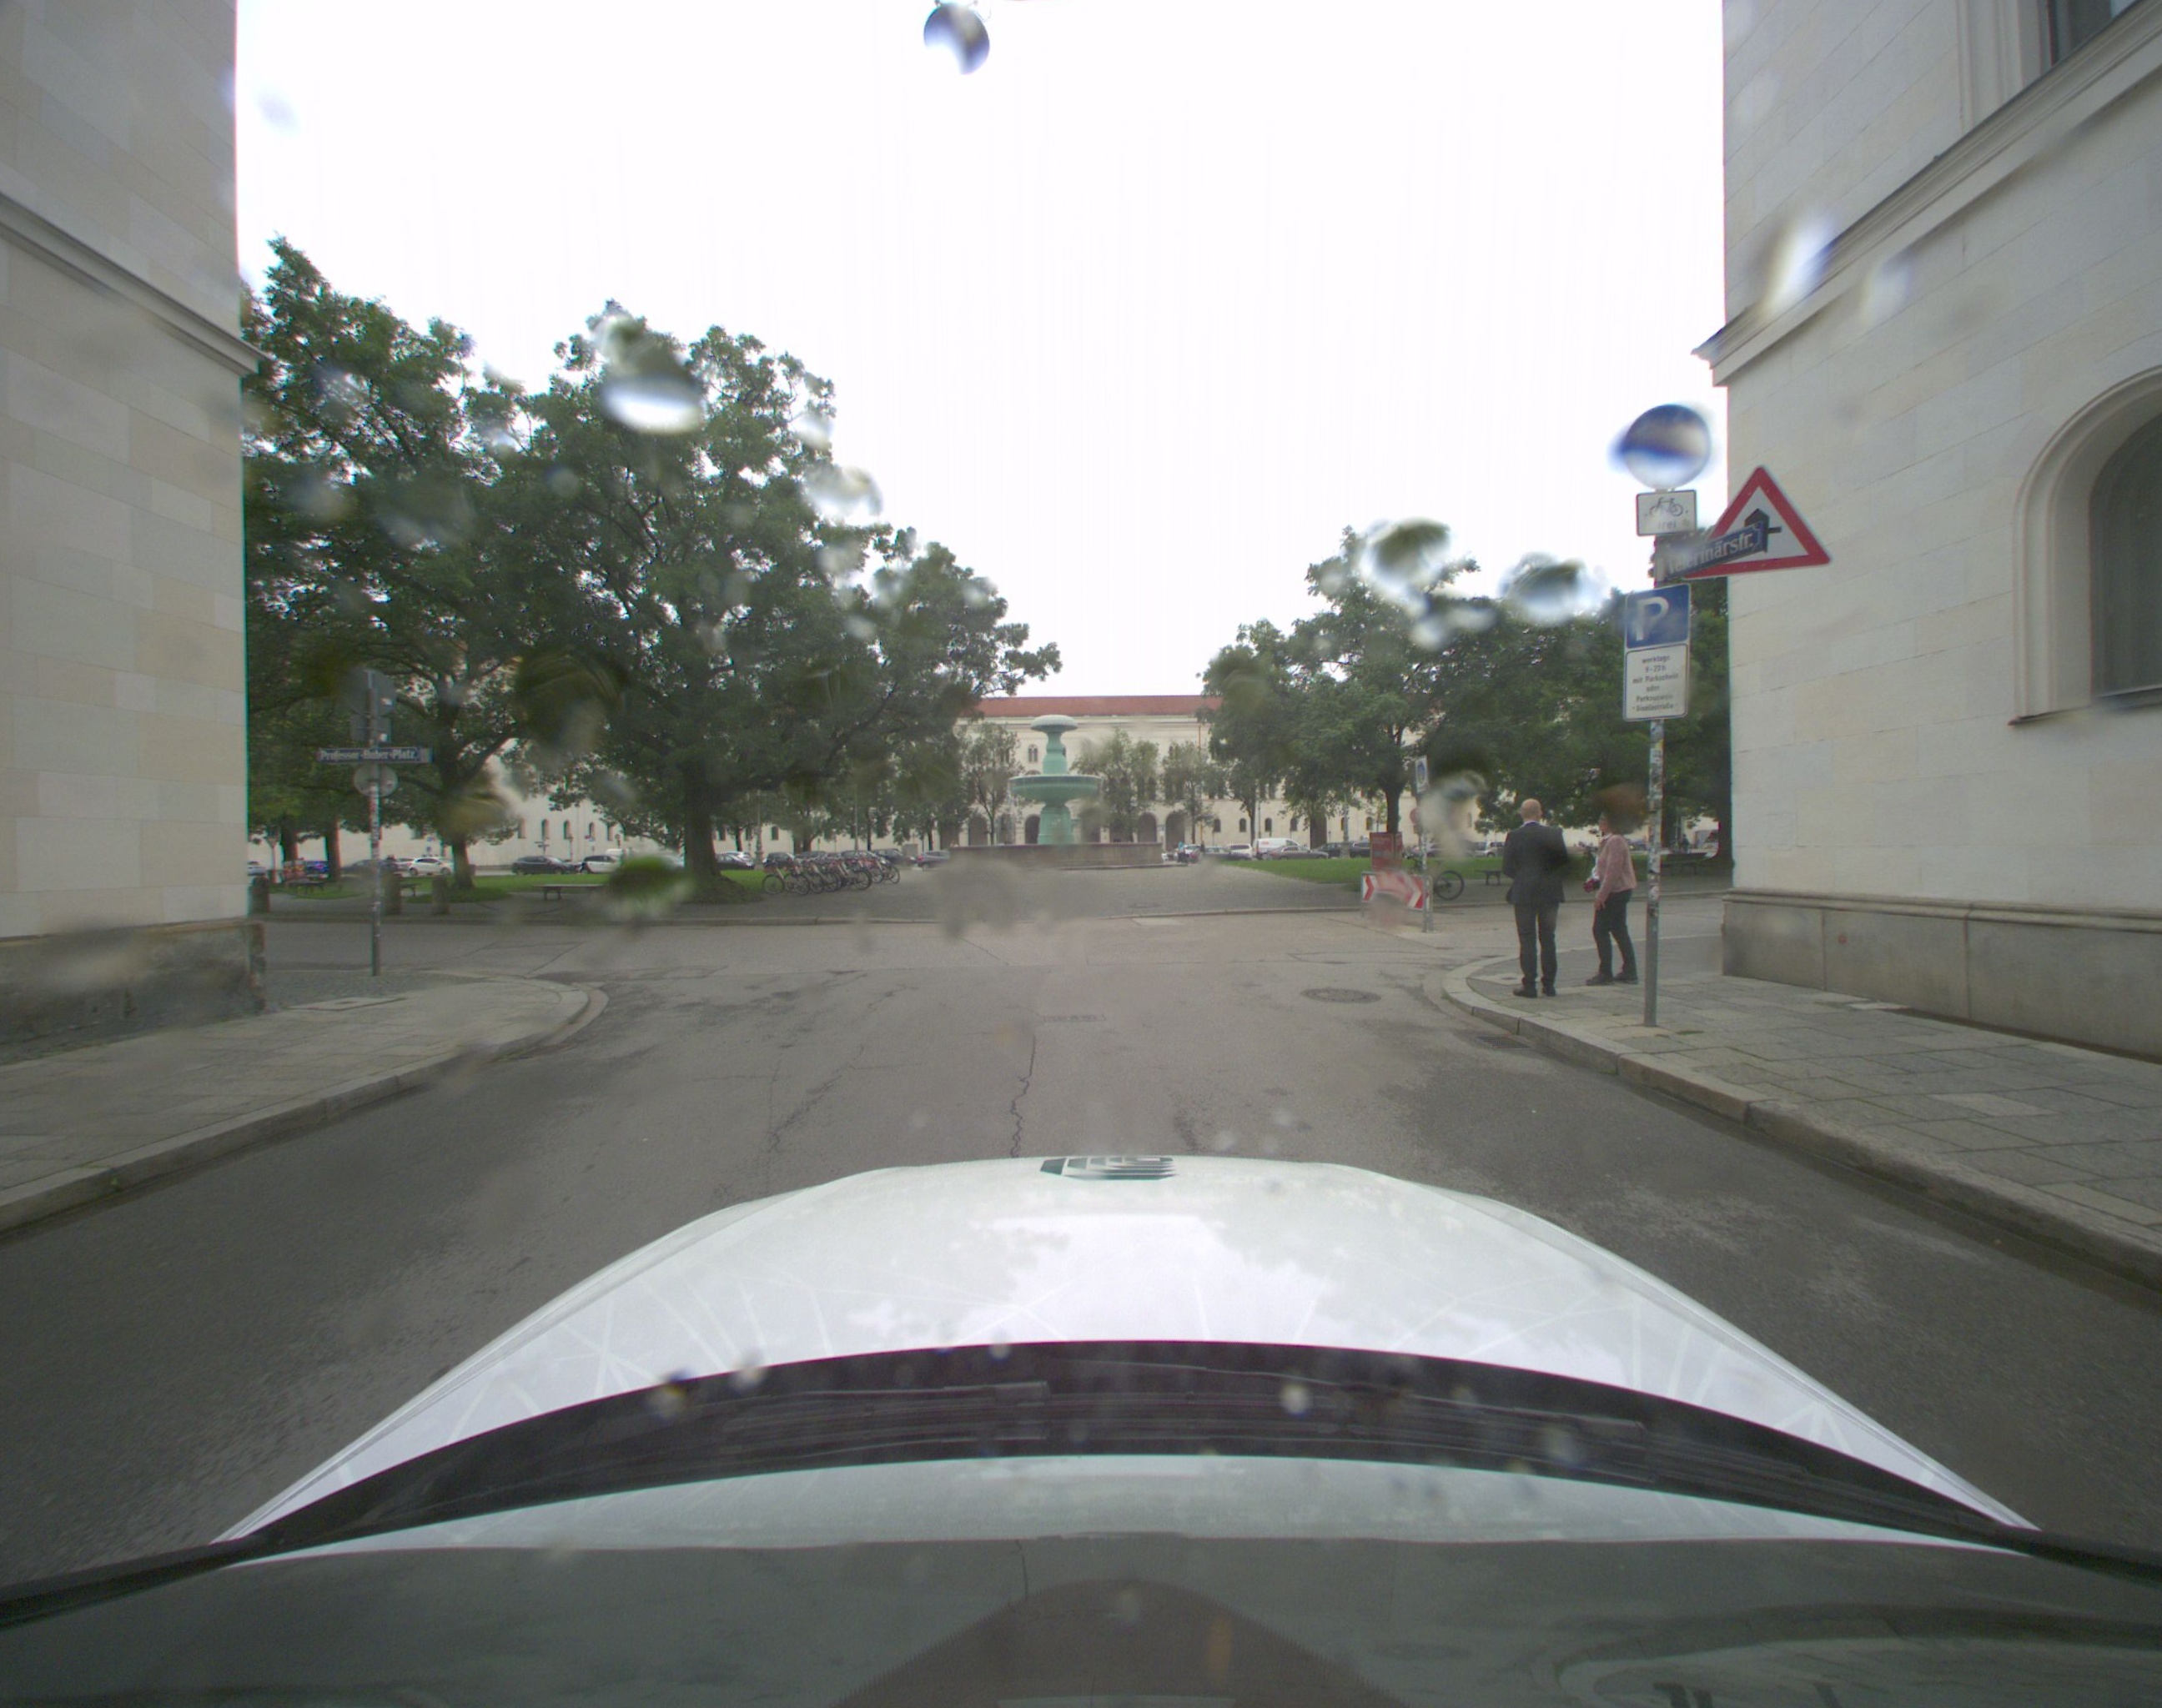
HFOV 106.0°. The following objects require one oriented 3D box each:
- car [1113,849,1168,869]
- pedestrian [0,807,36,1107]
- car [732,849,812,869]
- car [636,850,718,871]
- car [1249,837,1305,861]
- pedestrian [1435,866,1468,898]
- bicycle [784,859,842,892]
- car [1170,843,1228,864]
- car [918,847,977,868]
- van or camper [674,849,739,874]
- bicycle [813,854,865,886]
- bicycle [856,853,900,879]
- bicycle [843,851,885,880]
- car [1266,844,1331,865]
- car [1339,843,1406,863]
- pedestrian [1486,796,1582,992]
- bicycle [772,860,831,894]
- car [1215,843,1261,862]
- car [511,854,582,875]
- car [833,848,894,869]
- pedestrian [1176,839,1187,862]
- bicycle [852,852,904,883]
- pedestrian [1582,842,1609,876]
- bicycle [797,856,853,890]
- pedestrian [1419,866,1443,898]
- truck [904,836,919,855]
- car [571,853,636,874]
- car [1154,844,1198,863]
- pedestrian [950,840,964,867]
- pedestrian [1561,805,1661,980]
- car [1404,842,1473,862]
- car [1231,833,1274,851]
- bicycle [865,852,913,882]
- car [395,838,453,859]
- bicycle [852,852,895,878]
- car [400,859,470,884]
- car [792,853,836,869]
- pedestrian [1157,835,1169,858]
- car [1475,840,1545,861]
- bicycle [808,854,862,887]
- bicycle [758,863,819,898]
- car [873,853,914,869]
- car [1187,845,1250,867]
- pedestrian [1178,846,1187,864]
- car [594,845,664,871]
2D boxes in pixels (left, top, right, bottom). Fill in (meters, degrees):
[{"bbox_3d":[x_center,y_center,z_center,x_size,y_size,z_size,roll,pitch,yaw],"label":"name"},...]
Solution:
[{"bbox_3d":[4.380,0.351,60.421,3.973,1.402,1.825,-2,1,1],"label":"car"},{"bbox_3d":[-6.699,0.615,4.544,0.752,1.749,0.689,-2,1,-3],"label":"pedestrian"},{"bbox_3d":[-22.569,0.349,59.653,5.061,1.376,1.998,-1,1,-3],"label":"car"},{"bbox_3d":[-29.356,0.485,59.294,4.956,1.376,1.998,-1,1,-3],"label":"car"},{"bbox_3d":[16.427,-0.440,68.241,4.309,2.013,1.825,0,1,2],"label":"car"},{"bbox_3d":[9.022,0.679,19.824,0.567,0.762,0.567,0,1,3],"label":"pedestrian"},{"bbox_3d":[-8.660,0.694,26.361,1.609,1.035,0.700,0,1,9],"label":"bicycle"},{"bbox_3d":[9.377,-0.067,65.073,4.343,1.524,1.803,-1,1,0],"label":"car"},{"bbox_3d":[-9.787,0.235,59.895,3.978,1.376,1.998,-1,1,-3],"label":"car"},{"bbox_3d":[-32.179,0.618,70.023,4.571,2.013,1.997,-1,1,-4],"label":"van or camper"},{"bbox_3d":[-8.529,0.554,28.707,1.609,1.098,0.700,0,1,9],"label":"bicycle"},{"bbox_3d":[-8.013,0.460,32.167,1.526,1.019,0.700,0,1,9],"label":"bicycle"},{"bbox_3d":[-8.321,0.451,31.304,1.392,1.098,0.658,0,1,9],"label":"bicycle"},{"bbox_3d":[16.180,0.049,60.763,4.343,1.418,1.803,-1,1,0],"label":"car"},{"bbox_3d":[21.680,-0.074,60.599,4.343,1.418,1.803,-1,1,0],"label":"car"},{"bbox_3d":[4.300,0.369,7.759,0.639,1.808,0.489,-1,0,4],"label":"pedestrian"},{"bbox_3d":[-8.778,0.722,25.631,1.609,1.035,0.700,0,1,9],"label":"bicycle"},{"bbox_3d":[15.204,-0.153,78.792,4.090,1.741,1.744,0,1,-5],"label":"car"},{"bbox_3d":[-38.517,0.731,58.735,3.897,1.376,1.601,-1,1,-3],"label":"car"},{"bbox_3d":[-15.845,0.306,59.506,3.978,1.376,1.998,-1,1,-3],"label":"car"},{"bbox_3d":[6.552,-0.213,53.186,0.577,1.465,0.551,-1,1,22],"label":"pedestrian"},{"bbox_3d":[-7.387,0.500,29.688,1.699,1.098,0.700,0,1,9],"label":"bicycle"},{"bbox_3d":[16.610,0.157,26.305,0.528,1.065,0.619,0,1,3],"label":"pedestrian"},{"bbox_3d":[-8.518,0.616,27.096,1.609,1.098,0.700,0,1,9],"label":"bicycle"},{"bbox_3d":[8.509,0.682,19.823,0.413,0.762,0.460,0,1,3],"label":"pedestrian"},{"bbox_3d":[-23.770,-1.206,114.044,1.995,2.488,3.984,-1,1,-12],"label":"truck"},{"bbox_3d":[-34.486,0.690,58.863,3.663,1.376,1.601,-1,1,-3],"label":"car"},{"bbox_3d":[9.171,-0.034,78.752,3.977,1.749,1.807,0,1,-3],"label":"car"},{"bbox_3d":[-7.708,-0.050,50.483,0.748,1.639,0.710,-1,1,-2],"label":"pedestrian"},{"bbox_3d":[5.257,0.366,8.101,0.620,1.681,0.544,0,0,-7],"label":"pedestrian"},{"bbox_3d":[26.776,-0.153,61.068,4.343,1.418,1.803,-1,1,0],"label":"car"},{"bbox_3d":[17.496,-1.184,83.037,3.978,1.783,1.929,0,1,-4],"label":"car"},{"bbox_3d":[-7.149,0.475,30.351,1.609,1.098,0.618,0,1,9],"label":"bicycle"},{"bbox_3d":[-65.114,-0.558,80.795,3.978,2.013,1.998,0,1,-3],"label":"car"},{"bbox_3d":[-8.384,0.440,32.980,1.526,1.019,0.700,0,1,9],"label":"bicycle"},{"bbox_3d":[-50.852,1.361,64.168,3.975,1.862,1.856,0,1,-1],"label":"car"},{"bbox_3d":[-25.387,0.663,77.516,3.663,1.376,1.601,-1,1,-3],"label":"car"},{"bbox_3d":[7.251,-0.671,71.800,0.906,2.013,0.685,0,1,-9],"label":"pedestrian"},{"bbox_3d":[32.264,-0.279,61.280,4.343,1.418,1.803,-1,1,0],"label":"car"},{"bbox_3d":[-8.397,0.572,27.844,1.609,1.098,0.700,0,1,9],"label":"bicycle"},{"bbox_3d":[-8.923,0.805,24.893,1.609,1.035,0.700,0,1,9],"label":"bicycle"},{"bbox_3d":[-18.277,0.666,79.618,3.665,1.376,1.600,-1,1,-5],"label":"car"},{"bbox_3d":[10.191,0.147,60.530,4.343,1.524,1.803,-1,1,0],"label":"car"},{"bbox_3d":[6.757,0.072,54.027,0.439,1.214,0.538,-1,1,25],"label":"pedestrian"},{"bbox_3d":[-37.079,0.298,66.876,4.527,2.013,1.998,-1,1,-4],"label":"car"}]
